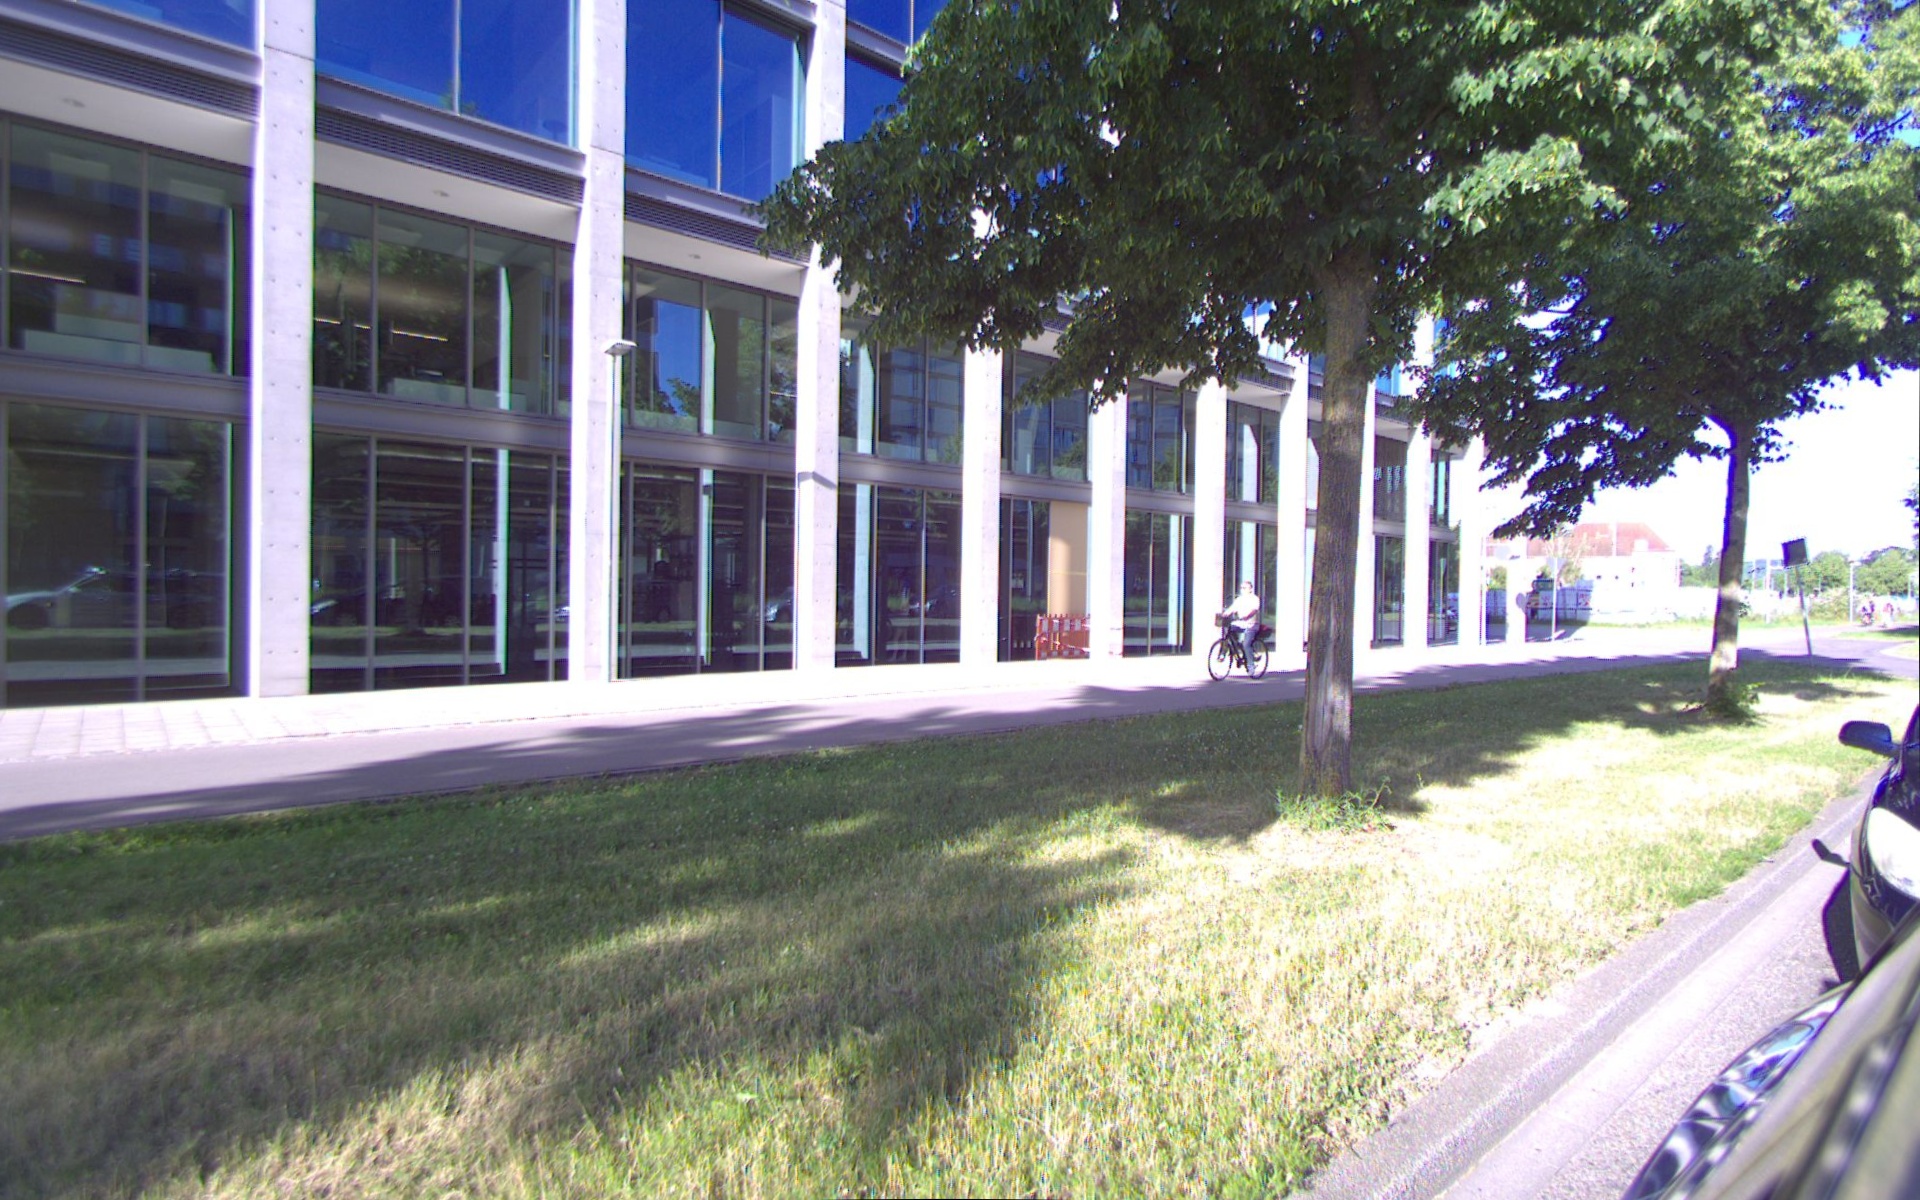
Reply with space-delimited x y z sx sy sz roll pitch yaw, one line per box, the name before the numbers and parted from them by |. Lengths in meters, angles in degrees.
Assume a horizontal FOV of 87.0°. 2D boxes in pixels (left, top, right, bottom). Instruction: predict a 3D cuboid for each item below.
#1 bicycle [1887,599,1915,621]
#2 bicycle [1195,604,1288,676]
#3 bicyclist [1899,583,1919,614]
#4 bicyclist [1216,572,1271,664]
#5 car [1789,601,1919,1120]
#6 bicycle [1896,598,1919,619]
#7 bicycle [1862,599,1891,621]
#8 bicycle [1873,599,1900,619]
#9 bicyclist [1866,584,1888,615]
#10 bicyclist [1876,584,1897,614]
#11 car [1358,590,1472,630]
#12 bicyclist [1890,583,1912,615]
bicycle | 61.931 0.627 66.583 3.930 1.380 0.930 0 1 -41
bicycle | 4.987 0.686 17.855 1.894 1.170 0.591 1 2 -41
bicyclist | 64.954 -0.100 69.215 1.101 2.082 0.930 0 0 -41
bicyclist | 5.001 0.310 17.841 0.687 1.558 0.591 1 2 -41
car | 4.858 0.768 3.912 4.403 1.500 1.845 0 1 -41
bicycle | 64.995 0.594 69.282 3.930 1.380 0.930 0 1 -41
bicycle | 60.937 0.655 67.277 3.930 1.380 0.930 0 1 -41
bicycle | 64.189 0.619 70.107 3.930 1.380 0.930 0 1 -41
bicyclist | 60.965 -0.040 67.282 1.101 2.082 0.930 0 0 -41
bicyclist | 64.017 -0.073 69.919 1.101 2.082 0.930 0 0 -41
car | 19.510 0.386 43.503 1.963 1.598 3.997 0 1 -38
bicyclist | 61.873 -0.066 66.526 1.101 2.082 0.930 0 0 -41
